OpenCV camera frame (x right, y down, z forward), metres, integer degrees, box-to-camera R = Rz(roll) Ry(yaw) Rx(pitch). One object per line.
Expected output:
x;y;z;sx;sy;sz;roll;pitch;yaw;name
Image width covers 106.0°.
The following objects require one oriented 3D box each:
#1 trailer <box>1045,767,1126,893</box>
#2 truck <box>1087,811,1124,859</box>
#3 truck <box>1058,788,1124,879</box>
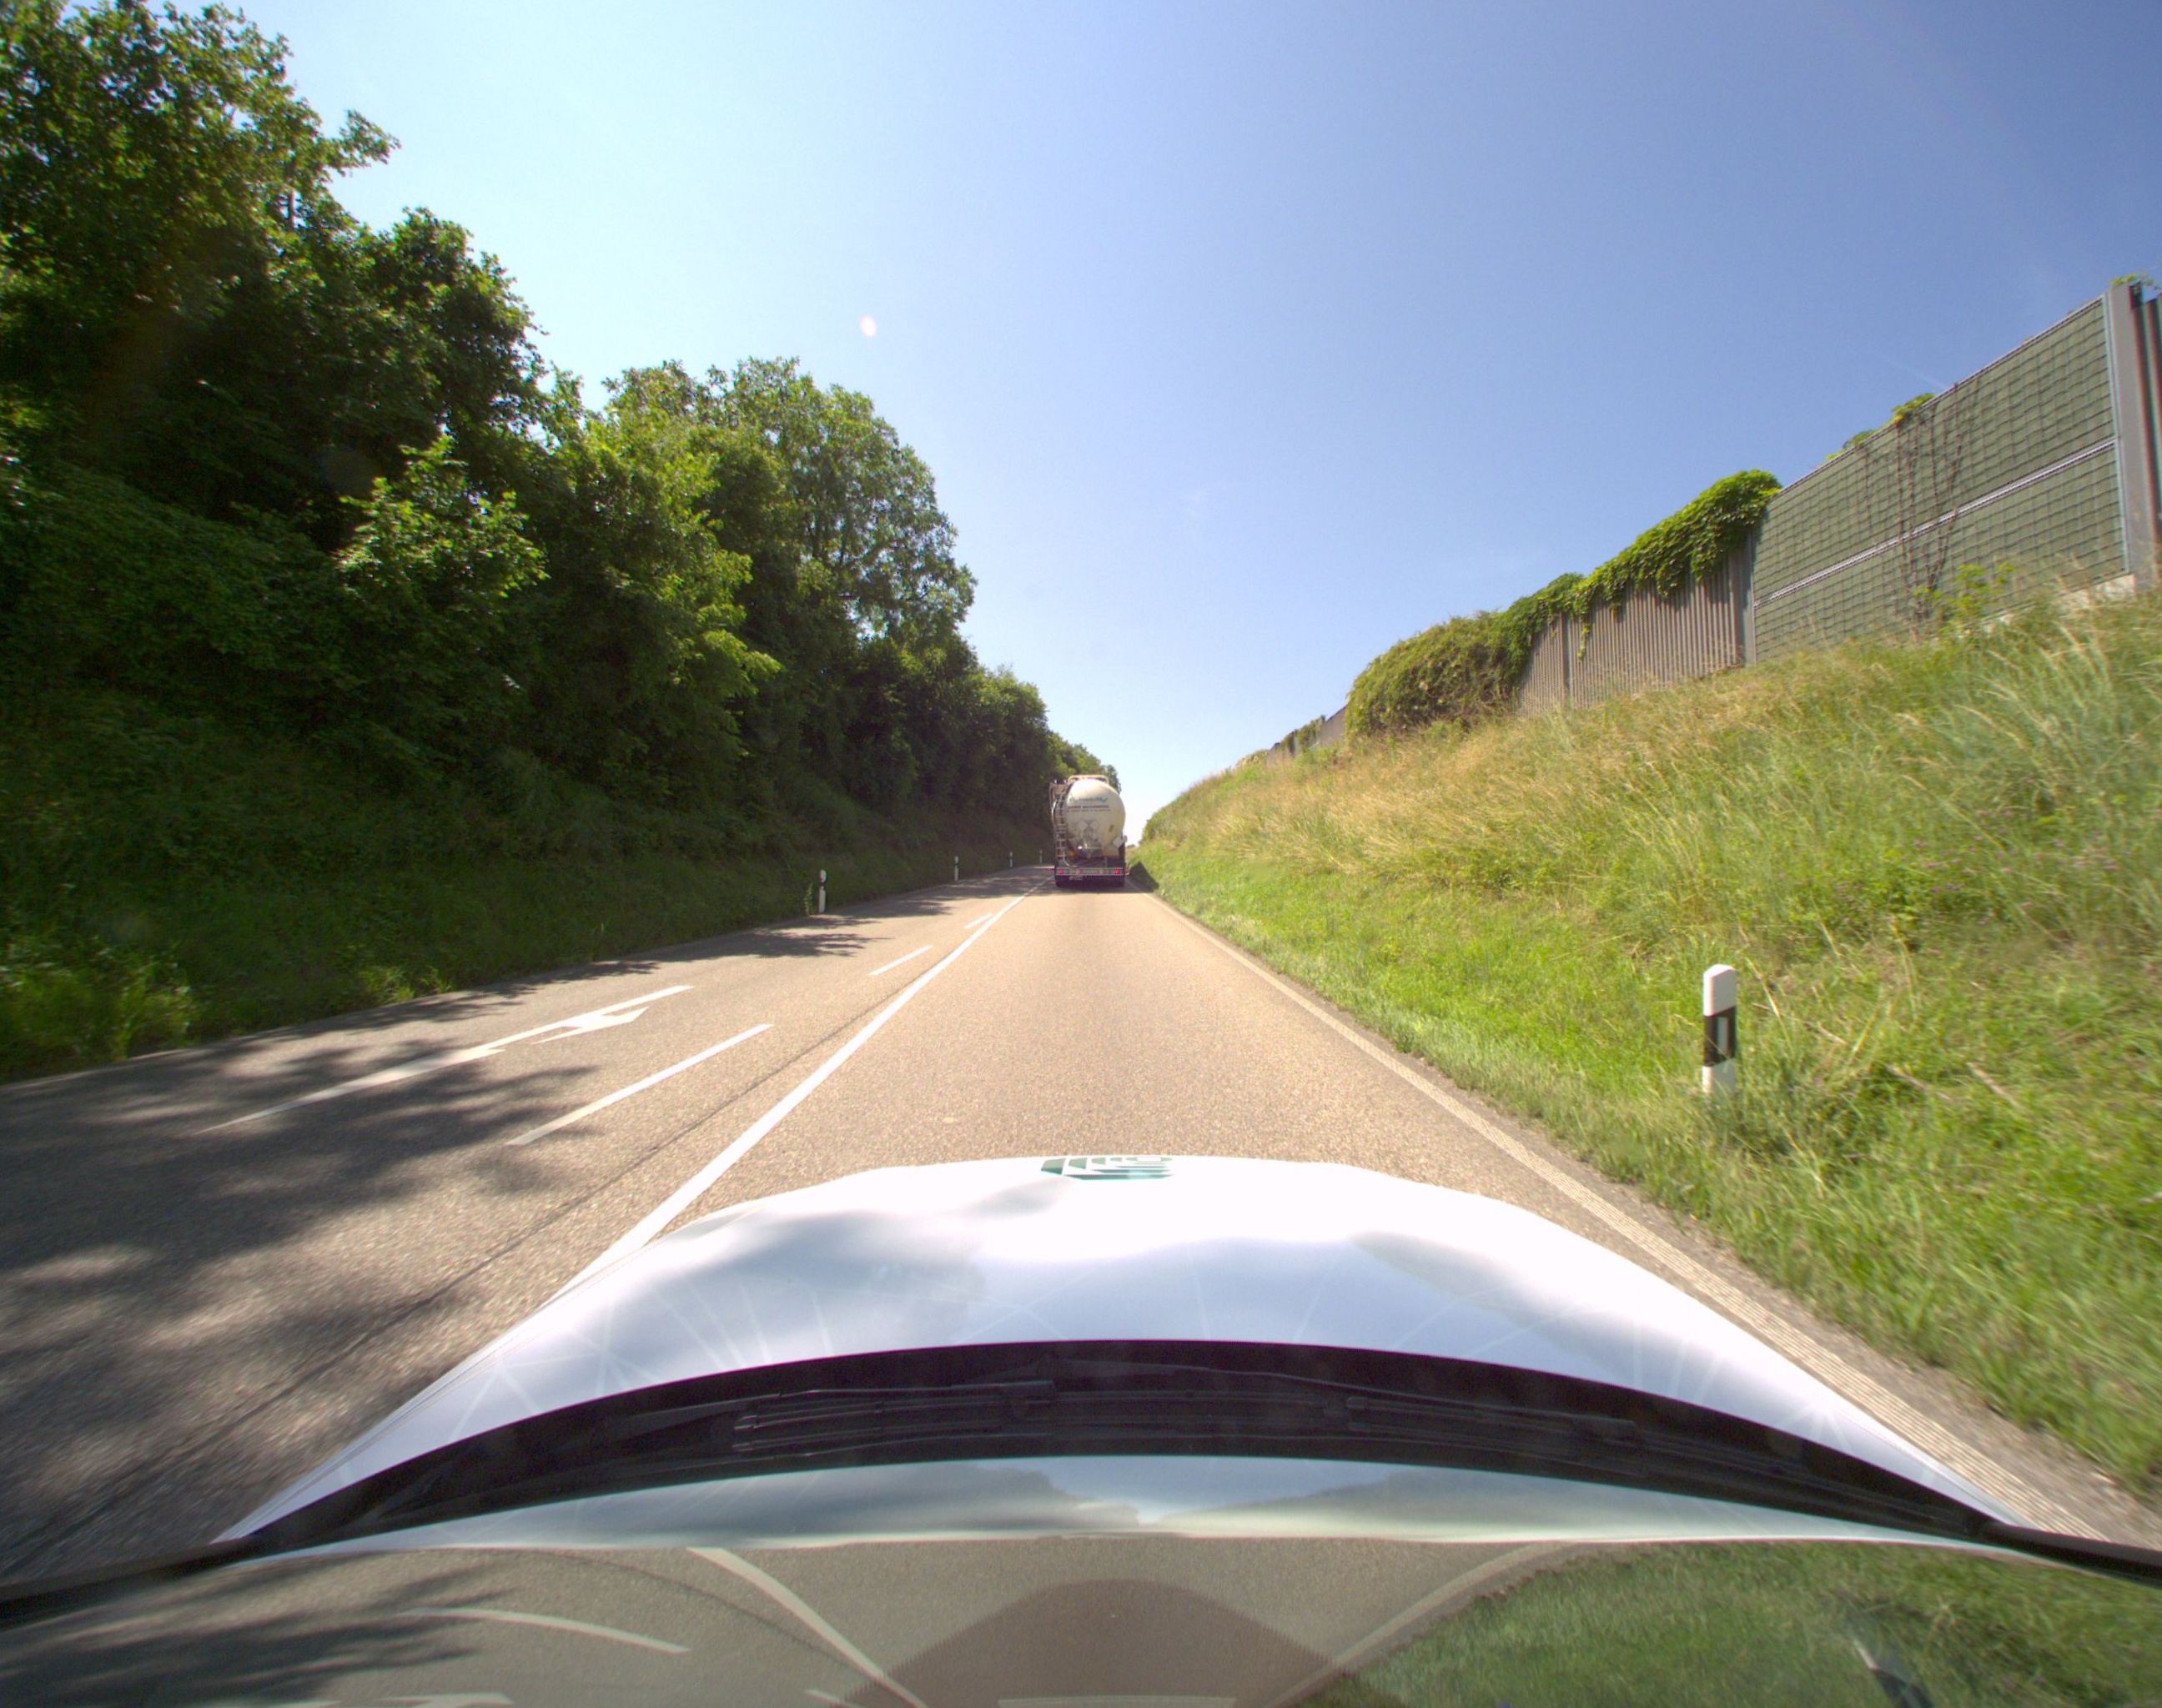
0.386;-0.945;32.960;2.651;4.188;11.912;0;1;2;trailer
2.538;-1.783;80.022;3.177;4.309;11.810;3;1;3;truck
0.641;-0.967;38.866;2.715;3.929;7.272;0;1;4;truck
